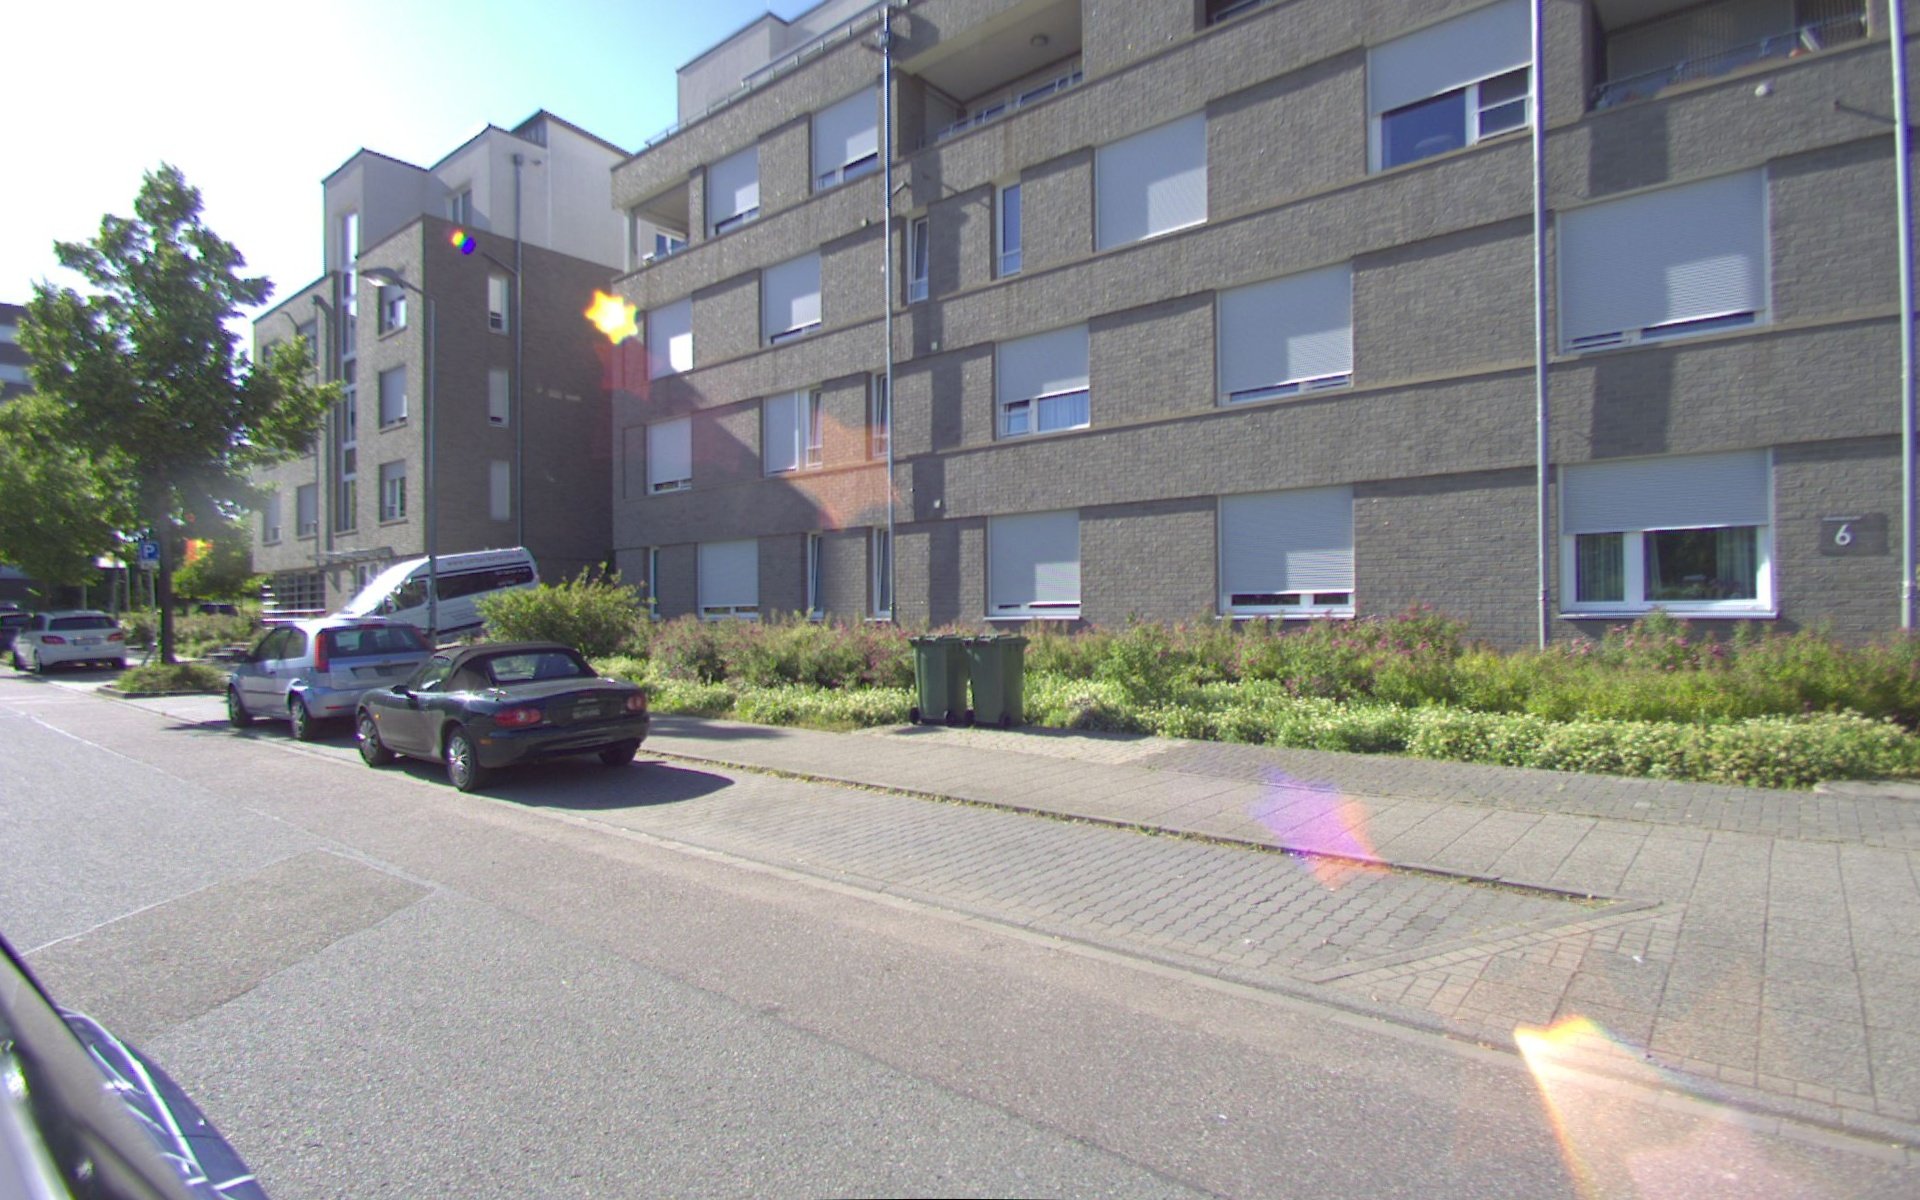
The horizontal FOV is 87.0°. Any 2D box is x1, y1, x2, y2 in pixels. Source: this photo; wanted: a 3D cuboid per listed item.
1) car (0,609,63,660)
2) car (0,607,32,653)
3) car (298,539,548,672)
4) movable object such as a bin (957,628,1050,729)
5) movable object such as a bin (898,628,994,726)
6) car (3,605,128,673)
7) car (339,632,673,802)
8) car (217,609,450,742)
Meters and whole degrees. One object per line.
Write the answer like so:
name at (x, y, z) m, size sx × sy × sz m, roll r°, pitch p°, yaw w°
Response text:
car at (-30.187, 1.077, 32.218) m, size 3.884 × 1.529 × 1.774 m, roll -1°, pitch 0°, yaw 38°
car at (-34.179, 1.052, 35.512) m, size 3.884 × 1.529 × 1.774 m, roll -1°, pitch 0°, yaw 38°
car at (-13.031, 0.145, 24.902) m, size 2.010 × 2.924 × 5.092 m, roll -1°, pitch -1°, yaw 36°
movable object such as a bin at (0.505, 0.877, 11.637) m, size 0.677 × 1.045 × 0.852 m, roll -1°, pitch 2°, yaw 38°
movable object such as a bin at (-0.158, 0.884, 12.007) m, size 0.680 × 1.045 × 0.910 m, roll -1°, pitch 2°, yaw 38°
car at (-23.435, 0.976, 26.477) m, size 3.884 × 1.611 × 1.774 m, roll -1°, pitch 0°, yaw 38°
car at (-4.501, 0.988, 9.835) m, size 3.561 × 1.257 × 1.610 m, roll -1°, pitch 1°, yaw 41°
car at (-8.394, 0.905, 13.465) m, size 3.559 × 1.536 × 1.610 m, roll -1°, pitch -1°, yaw 40°
